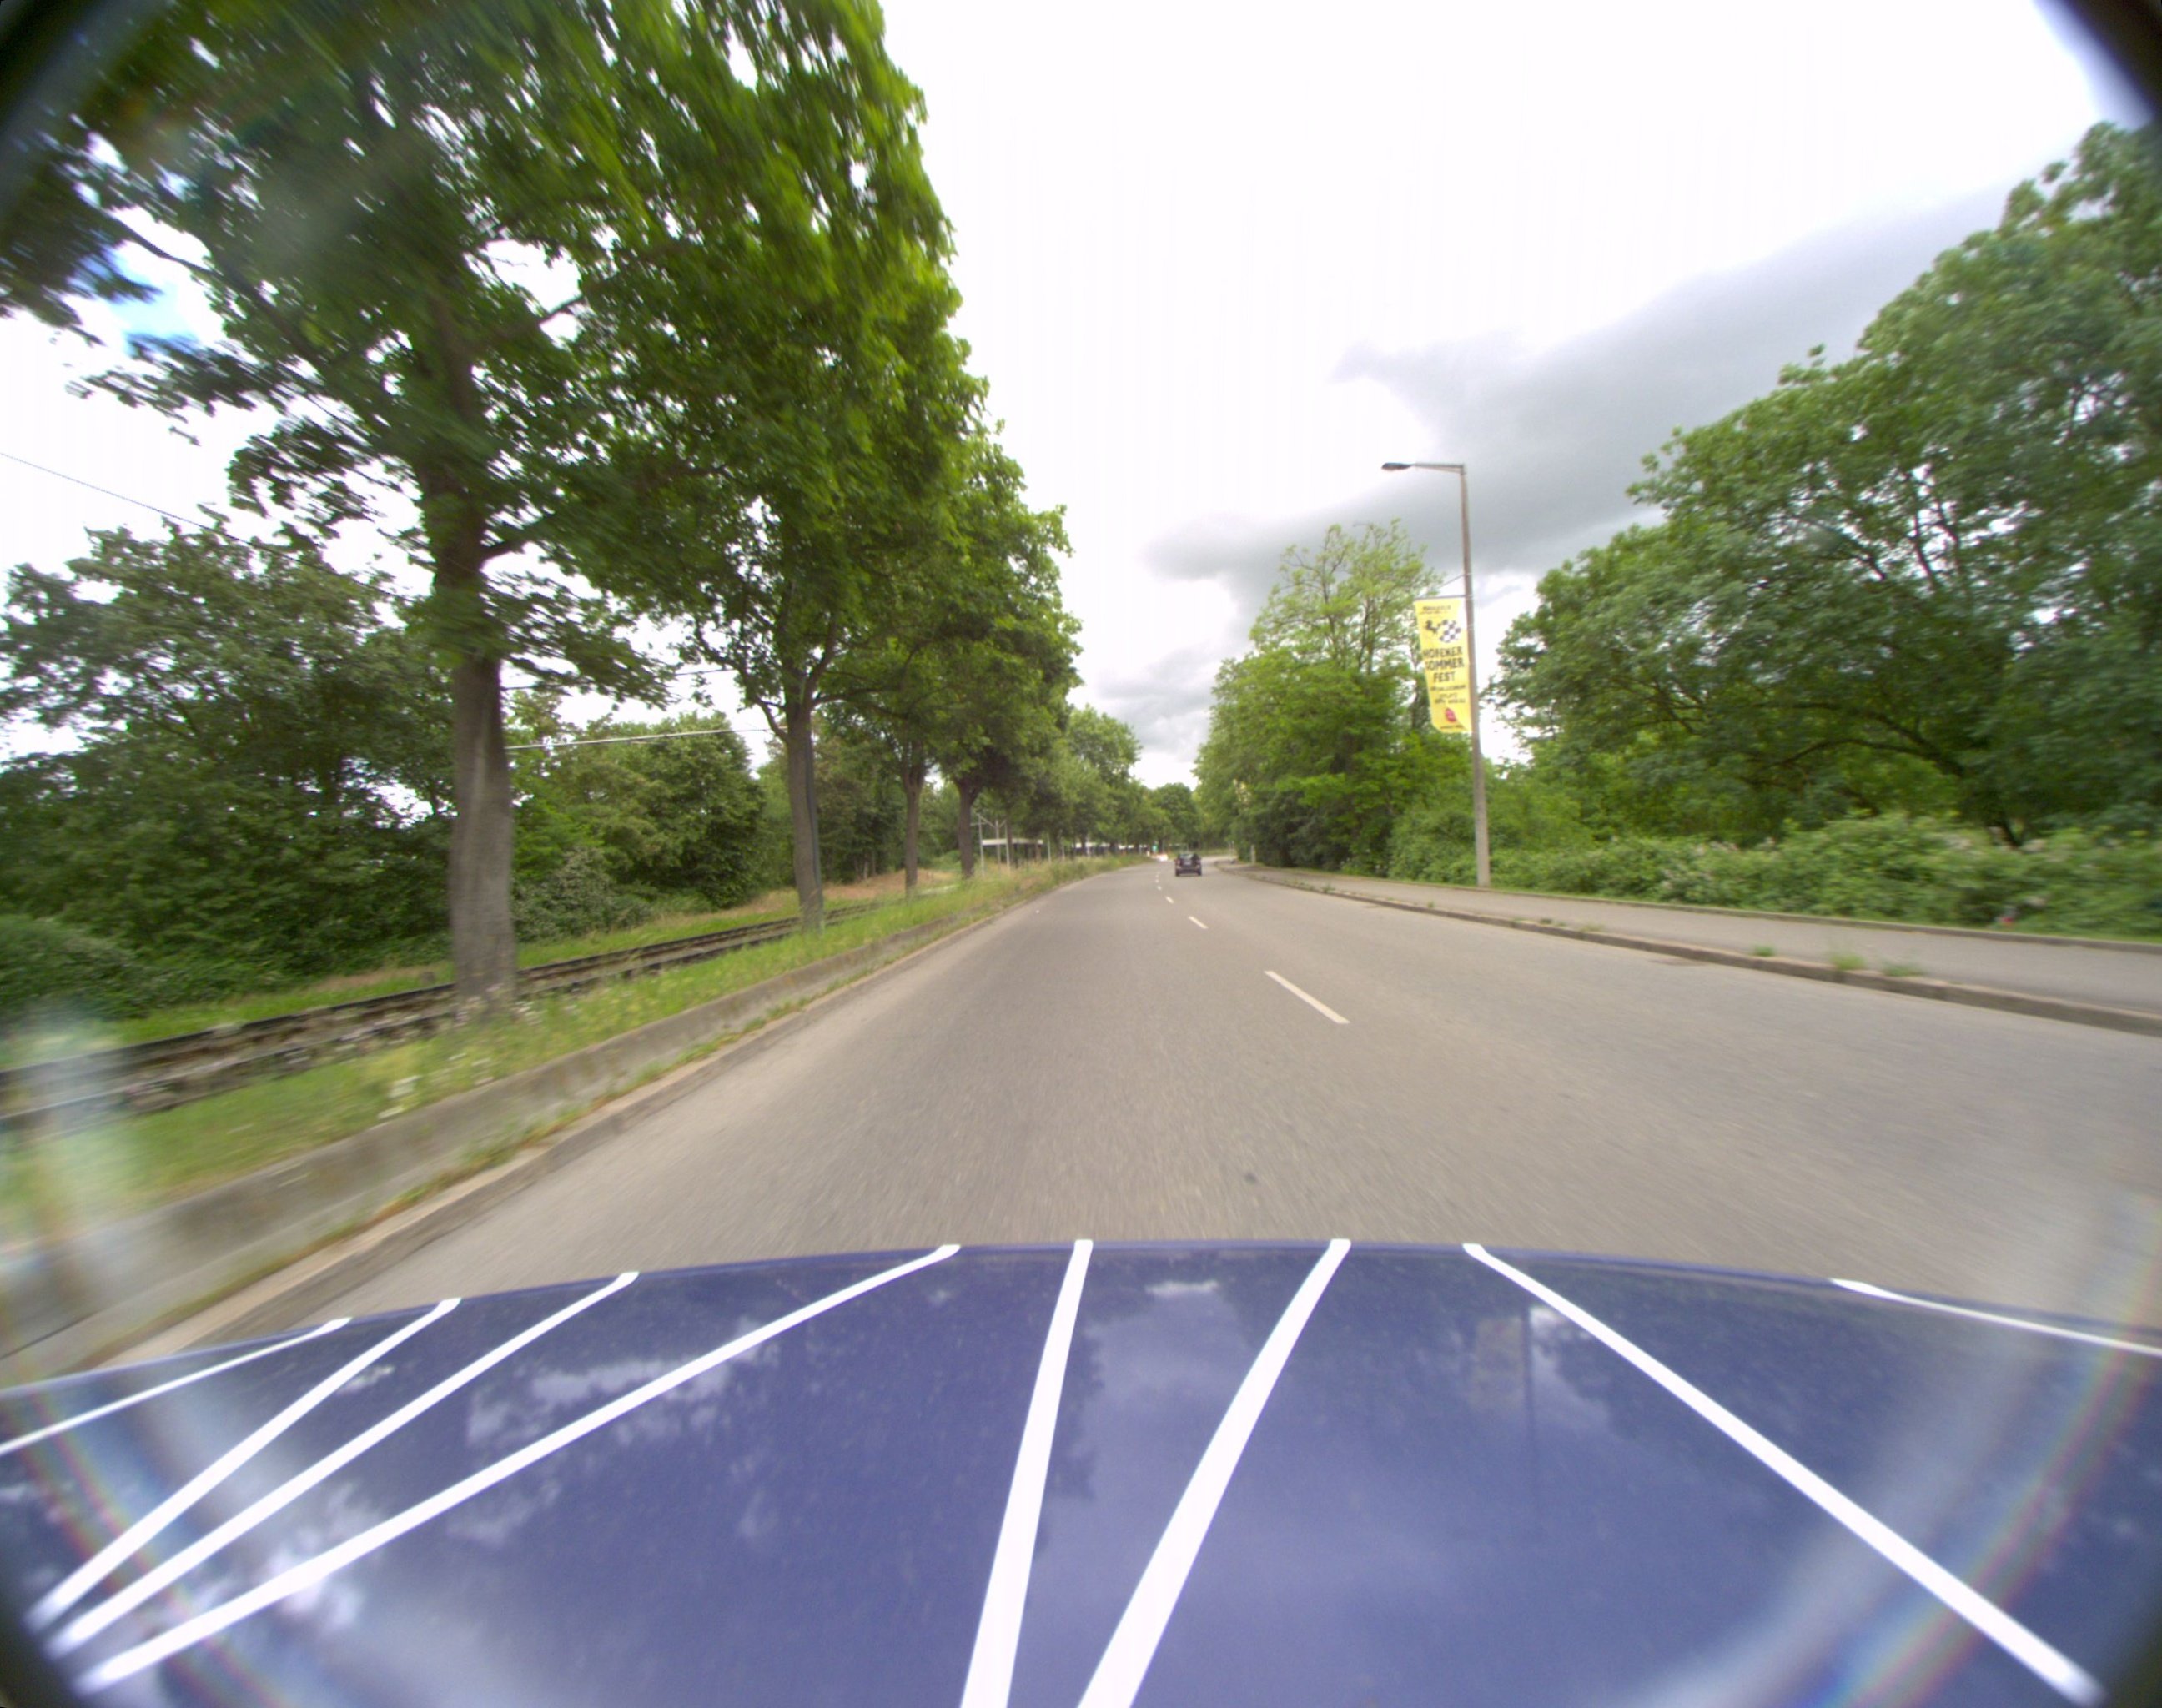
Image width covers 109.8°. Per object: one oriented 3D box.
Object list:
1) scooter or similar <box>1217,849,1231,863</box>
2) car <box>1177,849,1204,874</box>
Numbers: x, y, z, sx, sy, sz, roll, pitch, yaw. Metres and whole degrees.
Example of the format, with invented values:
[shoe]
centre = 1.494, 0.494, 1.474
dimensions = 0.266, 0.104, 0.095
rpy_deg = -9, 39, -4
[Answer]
[scooter or similar]
centre = 13.916, 0.197, 73.838
dimensions = 1.294, 1.177, 0.366
rpy_deg = -4, 0, 44
[car]
centre = 7.190, 0.453, 50.107
dimensions = 1.599, 1.497, 3.029
rpy_deg = -3, 0, 7
